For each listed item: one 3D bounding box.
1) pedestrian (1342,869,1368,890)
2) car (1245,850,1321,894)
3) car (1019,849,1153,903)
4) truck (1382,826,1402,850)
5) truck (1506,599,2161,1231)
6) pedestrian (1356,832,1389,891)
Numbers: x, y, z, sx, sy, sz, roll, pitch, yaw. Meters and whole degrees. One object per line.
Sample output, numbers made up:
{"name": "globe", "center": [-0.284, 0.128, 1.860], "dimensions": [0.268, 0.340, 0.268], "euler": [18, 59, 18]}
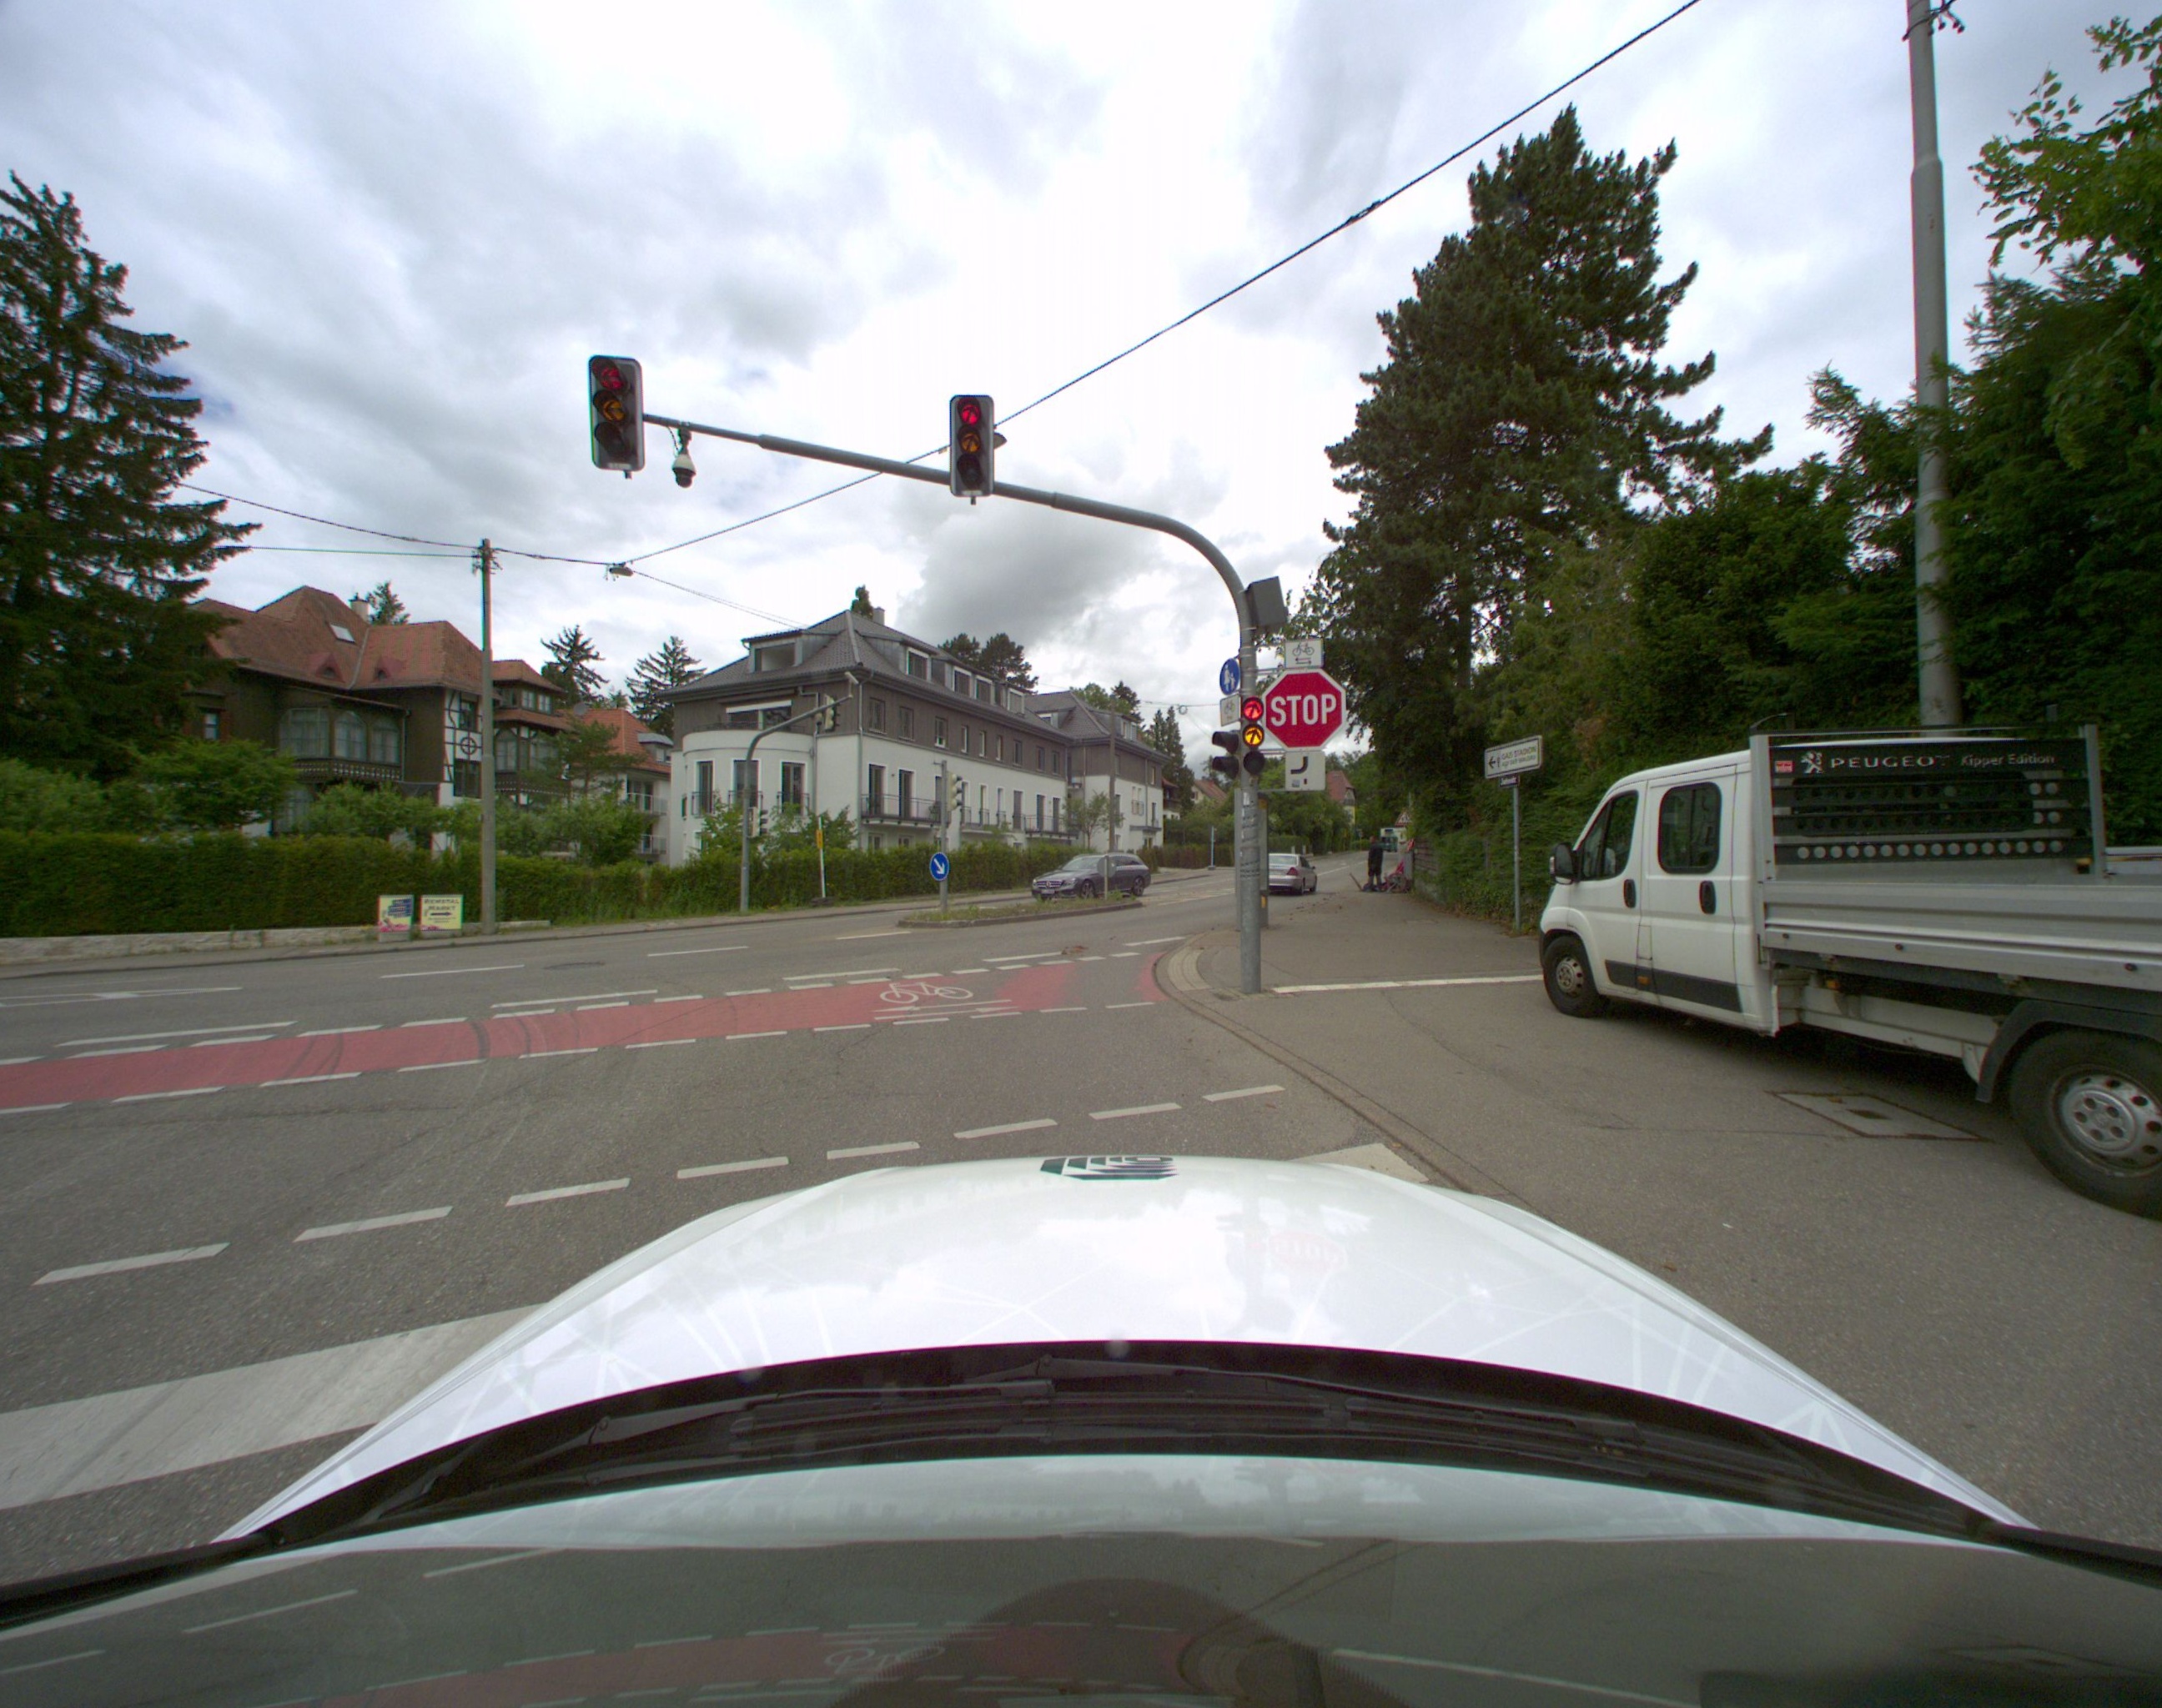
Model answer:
{"name": "pedestrian", "center": [9.519, 0.892, 28.319], "dimensions": [0.646, 0.696, 0.581], "euler": [-1, 0, -18]}
{"name": "car", "center": [7.225, 0.603, 28.875], "dimensions": [1.780, 1.415, 4.361], "euler": [-1, -1, 25]}
{"name": "car", "center": [0.274, 0.649, 26.223], "dimensions": [1.807, 1.485, 4.778], "euler": [-2, 0, 36]}
{"name": "truck", "center": [46.560, -2.316, 121.885], "dimensions": [2.754, 3.461, 7.532], "euler": [-1, -1, 21]}
{"name": "truck", "center": [5.361, 0.238, 5.209], "dimensions": [2.386, 2.351, 6.195], "euler": [0, 0, 4]}
{"name": "pedestrian", "center": [9.756, 0.253, 27.254], "dimensions": [0.842, 1.923, 0.802], "euler": [-1, 0, 4]}
